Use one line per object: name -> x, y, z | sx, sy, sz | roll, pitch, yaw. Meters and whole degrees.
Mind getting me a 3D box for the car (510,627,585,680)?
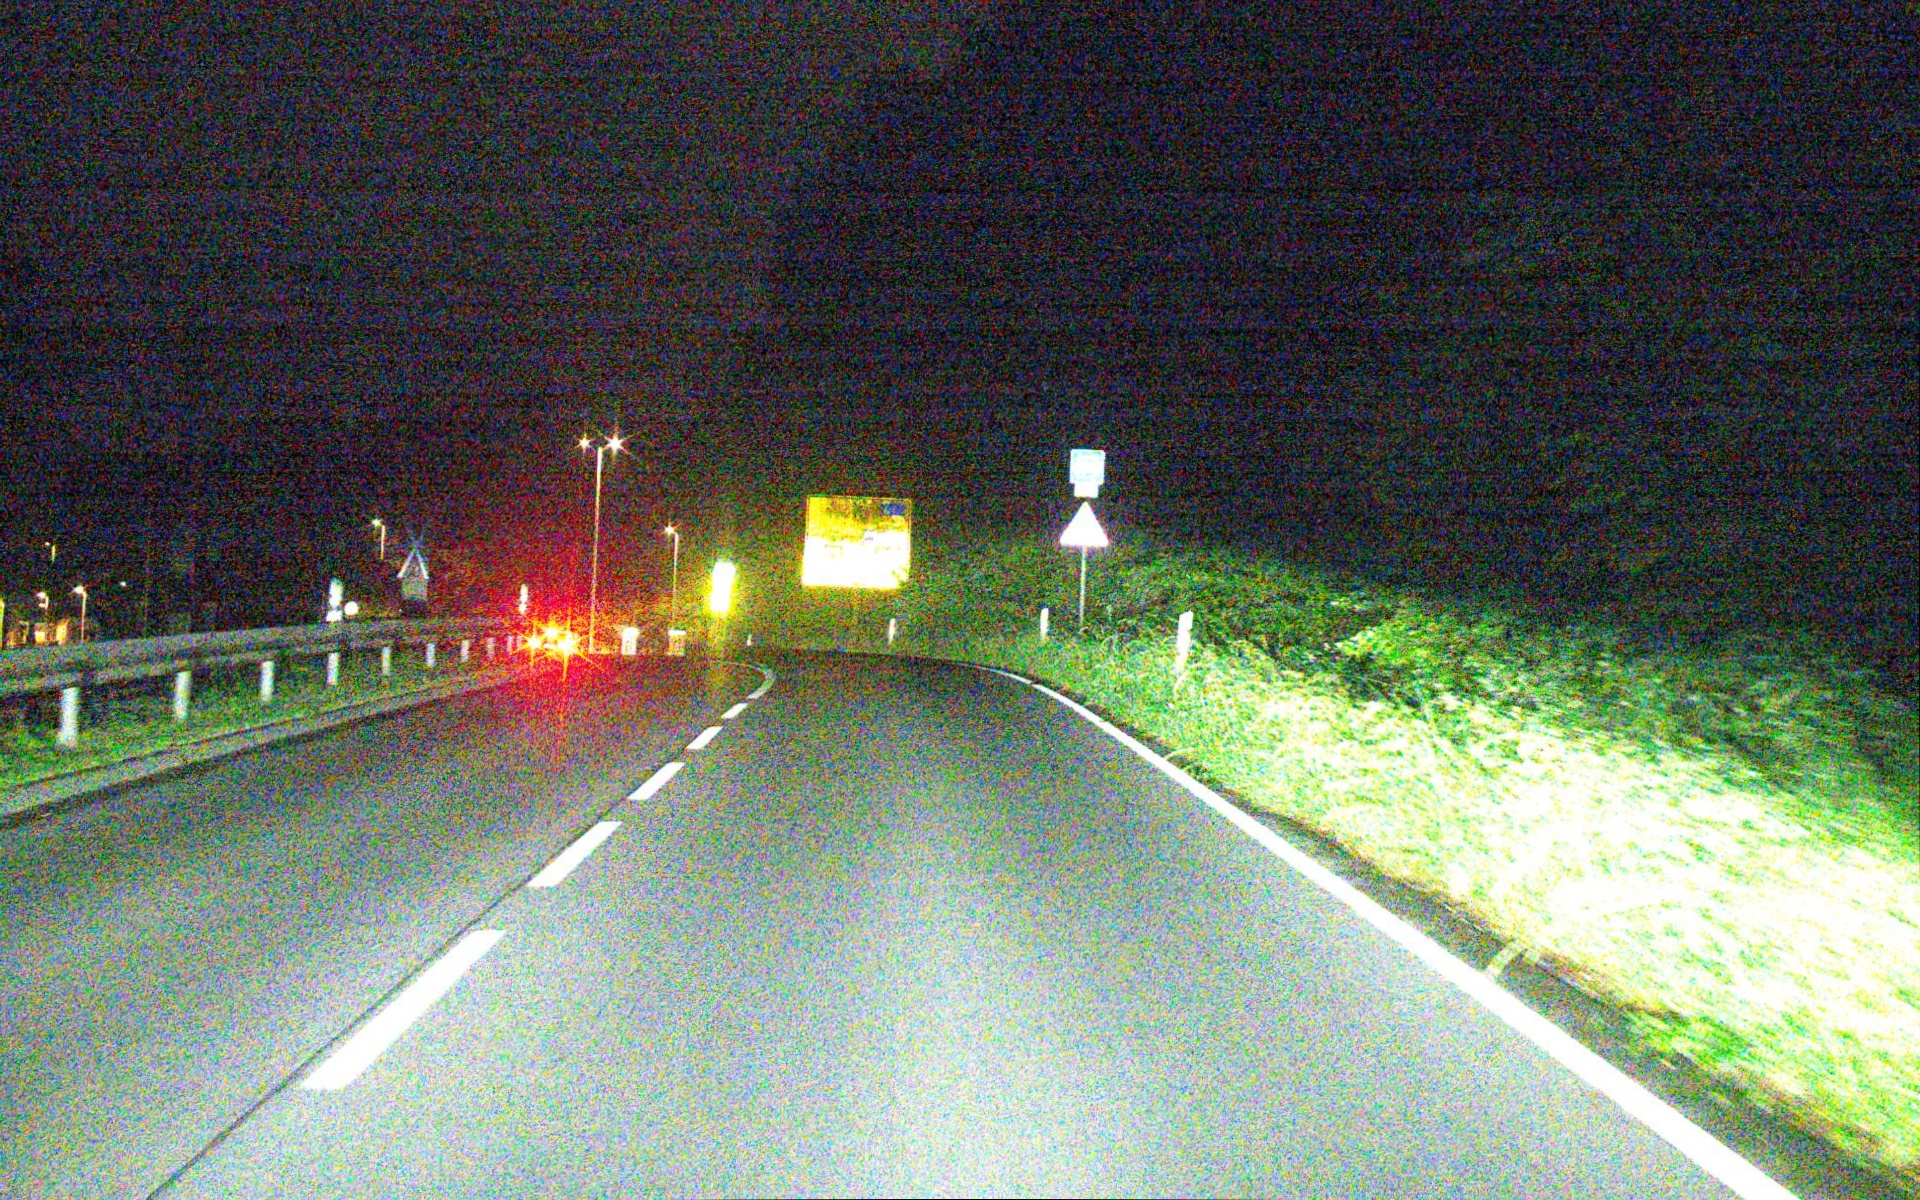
car -> -17.051, 2.201, 141.977 | 1.993, 2.007, 4.001 | 5, -2, -22
